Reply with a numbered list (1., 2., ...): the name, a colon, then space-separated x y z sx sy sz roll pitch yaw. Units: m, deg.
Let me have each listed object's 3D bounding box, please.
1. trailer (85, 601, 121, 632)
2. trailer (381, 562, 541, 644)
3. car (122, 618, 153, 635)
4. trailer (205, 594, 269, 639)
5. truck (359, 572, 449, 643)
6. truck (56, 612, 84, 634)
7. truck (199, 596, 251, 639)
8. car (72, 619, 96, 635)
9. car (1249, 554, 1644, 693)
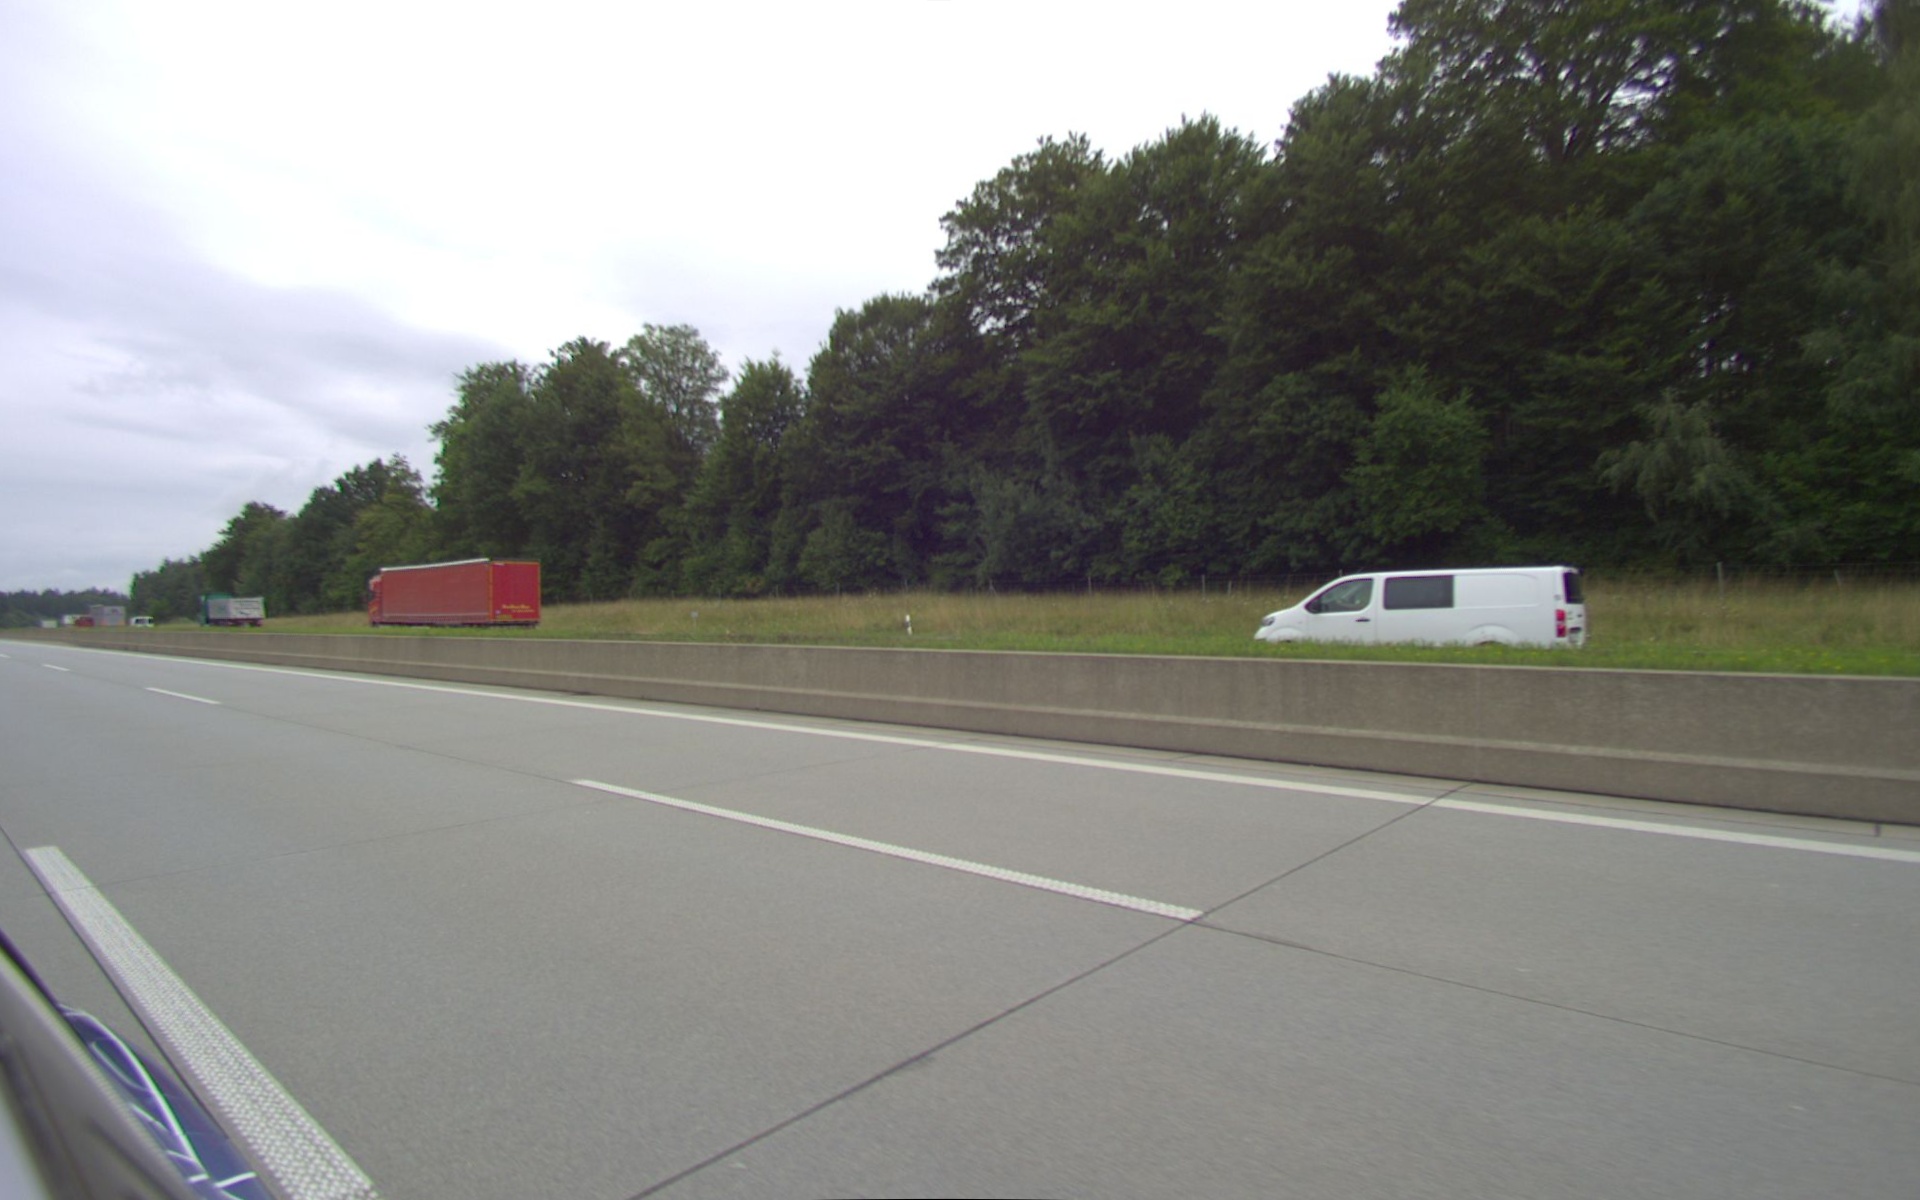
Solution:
1. trailer: -121.760 2.401 143.664 13.977 4.134 2.470 -1 -1 44
2. trailer: -27.110 0.300 54.387 14.375 3.974 2.580 -2 -1 42
3. car: -80.737 2.563 99.367 4.560 1.611 1.761 -2 -1 43
4. trailer: -63.883 1.471 89.327 9.011 3.728 2.774 -2 -1 42
5. truck: -32.780 0.479 59.557 6.945 3.957 2.525 -2 -1 42
6. truck: -117.620 3.026 133.760 6.513 2.809 2.242 -1 -1 44
7. truck: -67.026 1.575 92.228 5.659 3.768 2.750 -2 -1 42
8. car: -111.124 3.392 128.370 5.316 1.896 1.971 -1 0 45
9. car: 7.920 0.384 16.901 5.622 1.971 1.973 -2 -1 40
